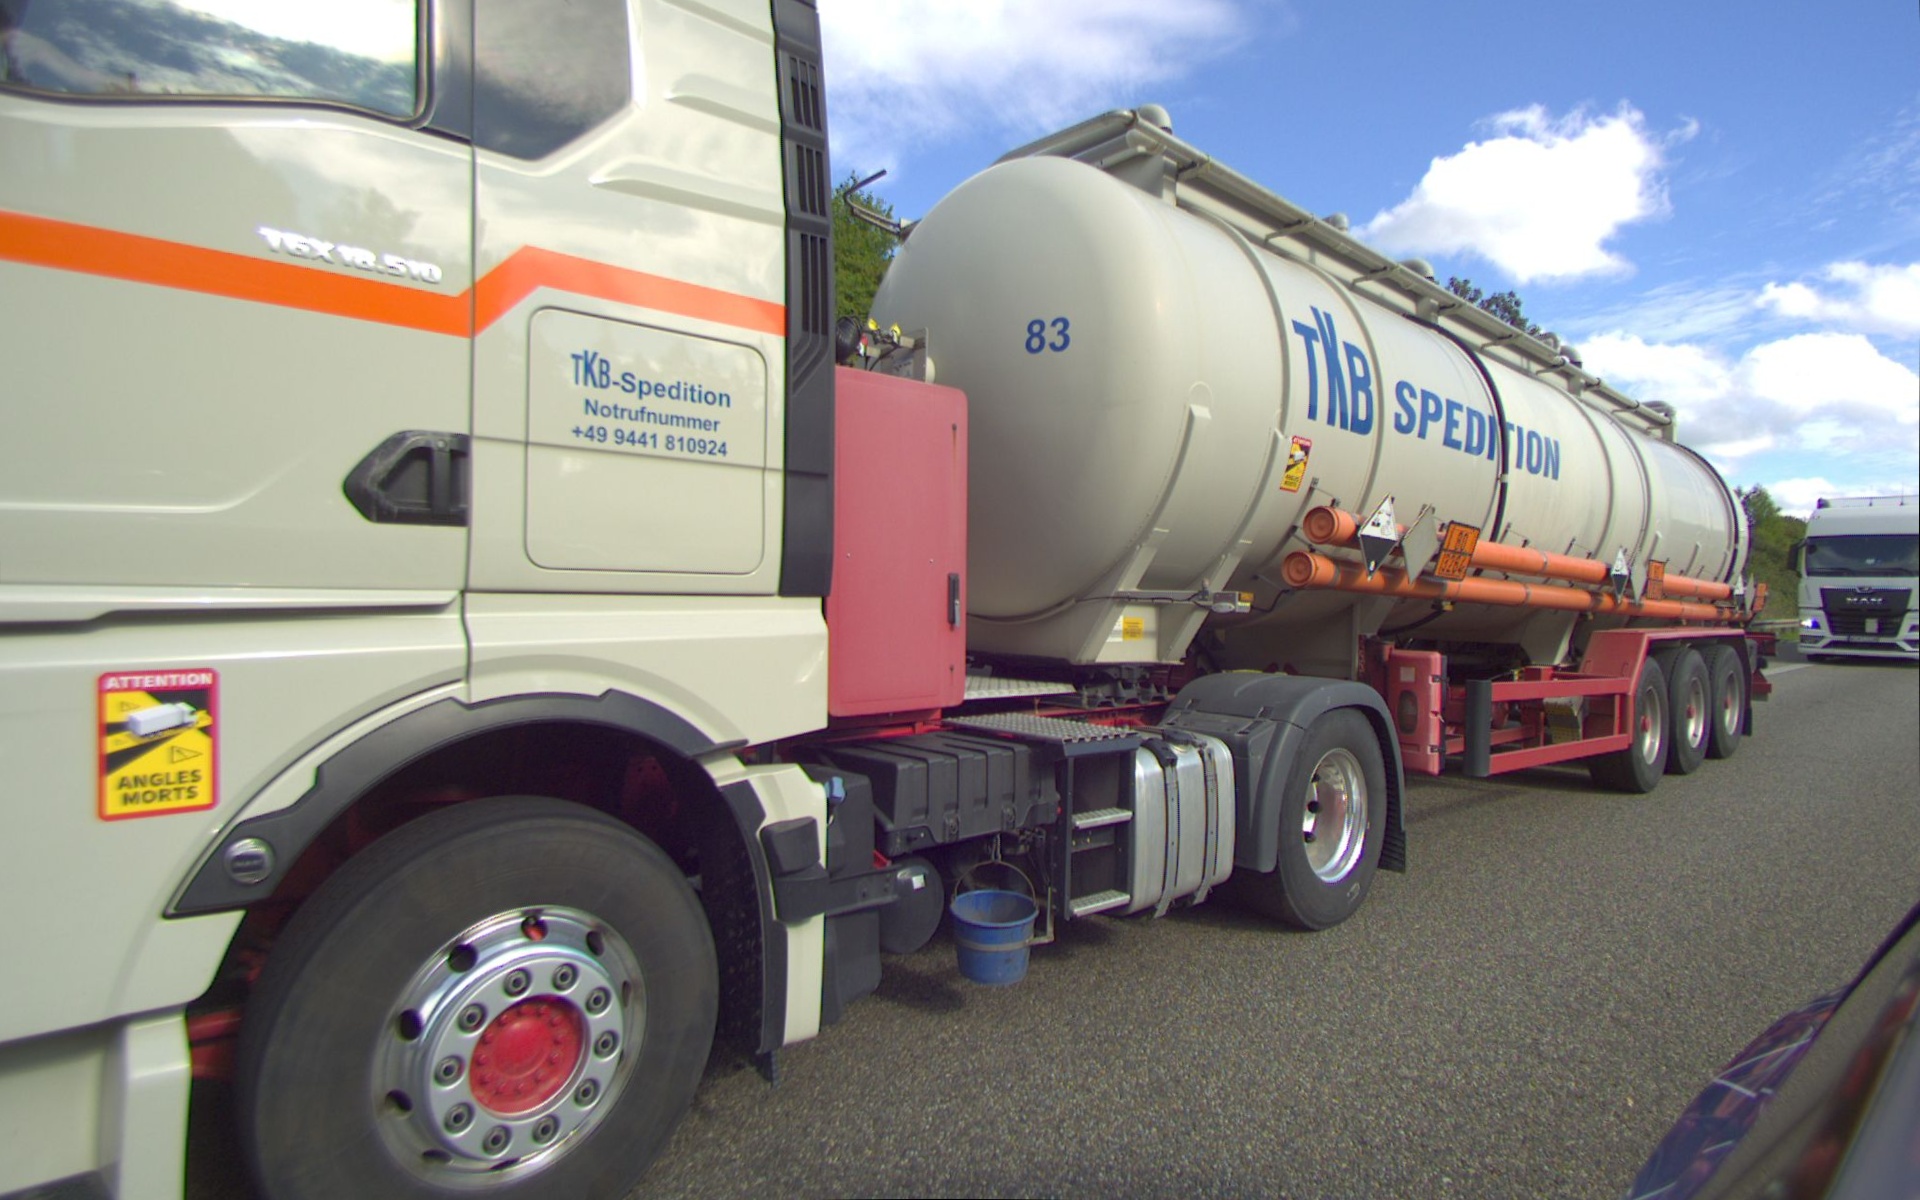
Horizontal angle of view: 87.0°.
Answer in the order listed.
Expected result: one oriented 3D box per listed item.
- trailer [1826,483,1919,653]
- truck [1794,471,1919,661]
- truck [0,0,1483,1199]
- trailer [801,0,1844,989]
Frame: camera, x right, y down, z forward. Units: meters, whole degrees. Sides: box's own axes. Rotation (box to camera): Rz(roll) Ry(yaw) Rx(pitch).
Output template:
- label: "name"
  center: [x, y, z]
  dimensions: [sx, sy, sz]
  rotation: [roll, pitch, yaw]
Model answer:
- label: "trailer"
  center: [28.080, -0.814, 29.057]
  dimensions: [13.135, 4.122, 2.831]
  rotation: [0, 1, -40]
- label: "truck"
  center: [22.532, -0.771, 24.361]
  dimensions: [5.606, 4.122, 2.840]
  rotation: [0, 1, -40]
- label: "truck"
  center: [-0.575, -0.712, 4.127]
  dimensions: [5.799, 4.094, 2.808]
  rotation: [0, 1, -40]
- label: "trailer"
  center: [4.194, -0.732, 8.161]
  dimensions: [10.984, 4.077, 2.804]
  rotation: [0, 1, -40]
